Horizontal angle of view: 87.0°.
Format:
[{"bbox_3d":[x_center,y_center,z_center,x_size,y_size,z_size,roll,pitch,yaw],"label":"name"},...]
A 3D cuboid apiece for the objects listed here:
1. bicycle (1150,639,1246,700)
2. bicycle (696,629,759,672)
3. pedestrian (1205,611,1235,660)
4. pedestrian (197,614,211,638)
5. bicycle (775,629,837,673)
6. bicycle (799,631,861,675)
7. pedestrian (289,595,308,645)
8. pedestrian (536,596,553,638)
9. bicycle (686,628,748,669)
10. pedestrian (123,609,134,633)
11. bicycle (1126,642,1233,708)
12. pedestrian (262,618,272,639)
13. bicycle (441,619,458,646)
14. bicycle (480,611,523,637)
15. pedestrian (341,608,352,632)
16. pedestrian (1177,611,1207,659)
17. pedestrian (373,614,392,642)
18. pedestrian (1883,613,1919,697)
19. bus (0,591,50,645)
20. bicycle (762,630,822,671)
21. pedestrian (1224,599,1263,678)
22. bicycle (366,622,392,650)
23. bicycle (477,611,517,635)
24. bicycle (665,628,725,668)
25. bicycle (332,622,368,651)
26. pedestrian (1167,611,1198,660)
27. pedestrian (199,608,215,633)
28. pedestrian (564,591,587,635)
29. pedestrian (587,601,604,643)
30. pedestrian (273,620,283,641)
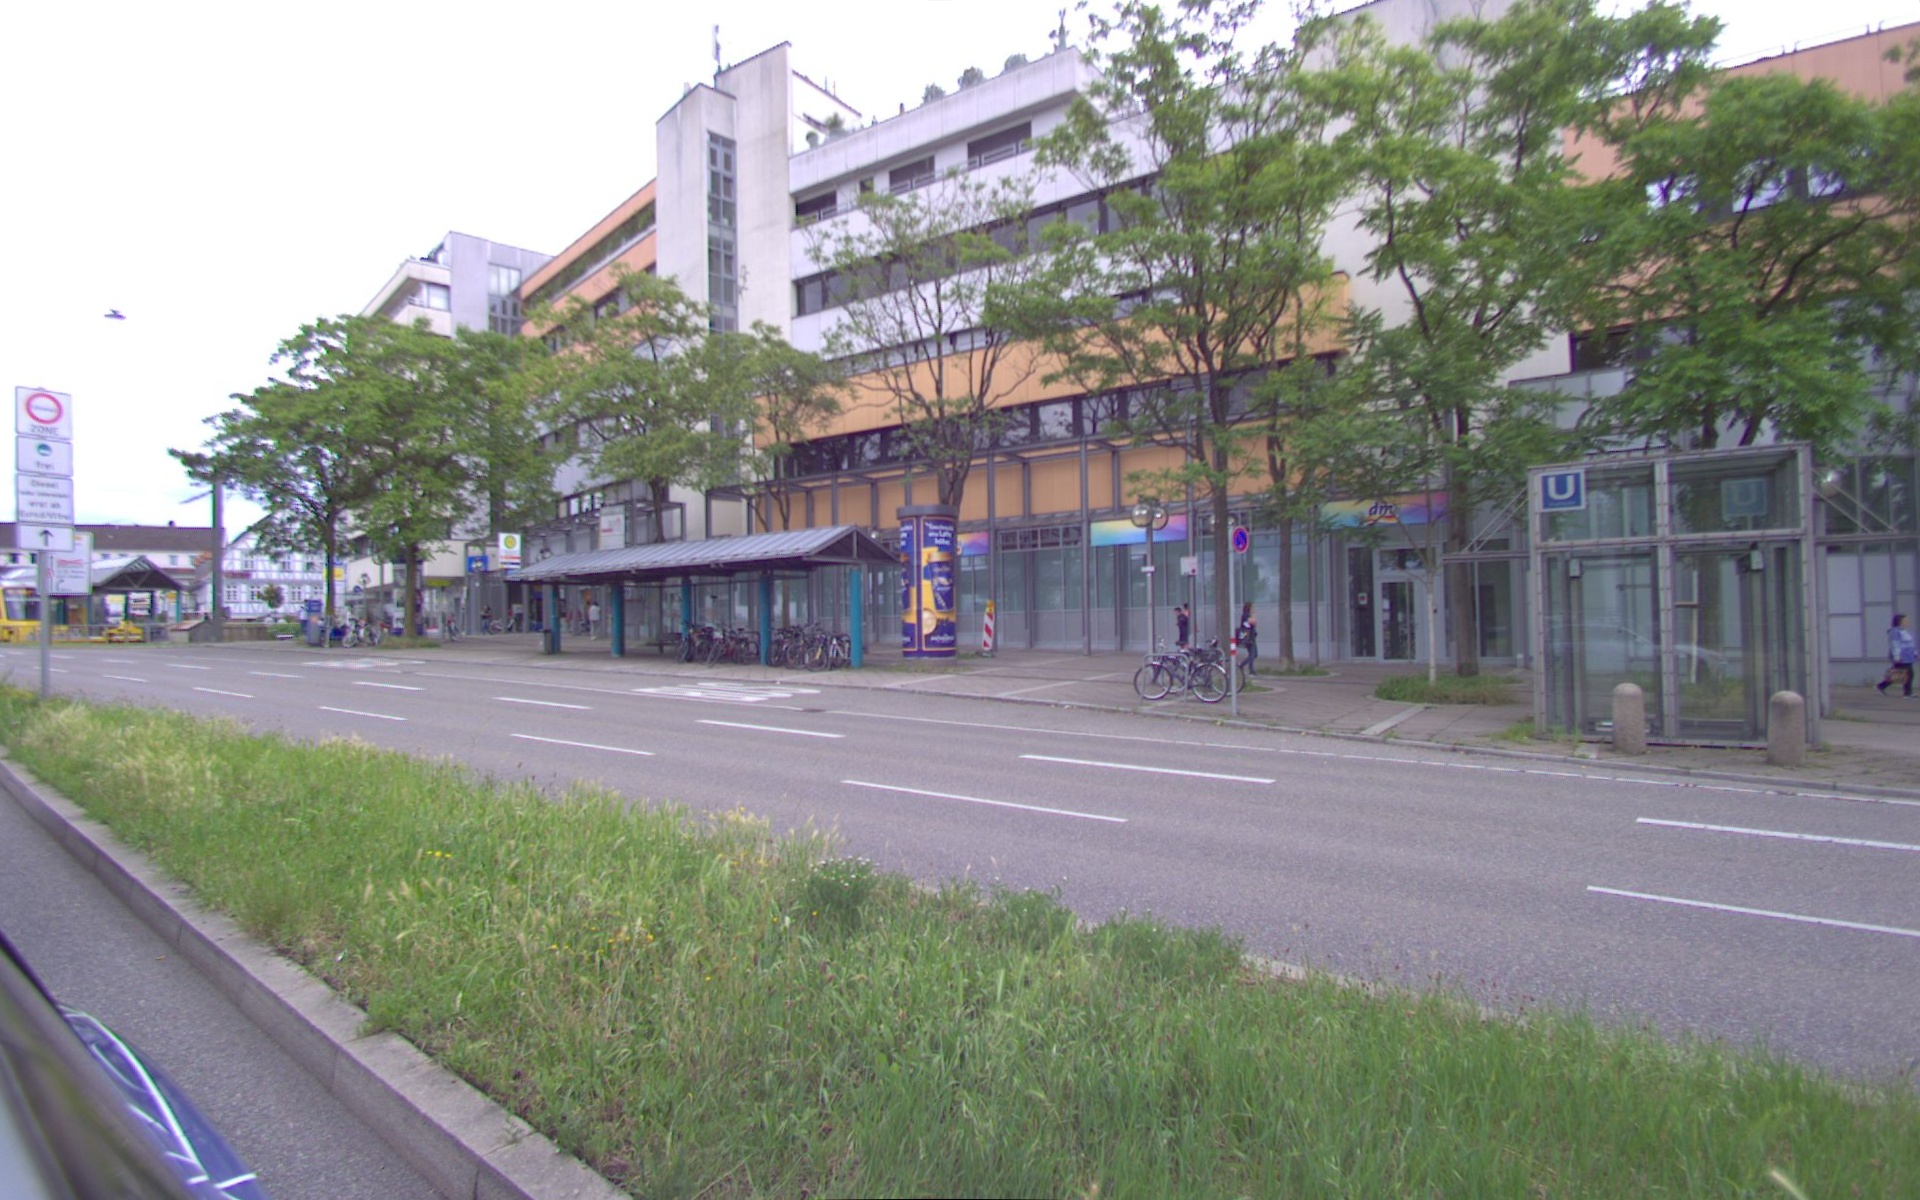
[{"bbox_3d":[4.501,1.292,19.199,1.737,1.074,0.542,-1,-1,45],"label":"bicycle"},{"bbox_3d":[-6.449,1.387,28.127,0.549,1.048,1.714,-1,1,38],"label":"bicycle"},{"bbox_3d":[7.507,1.015,29.190,0.694,1.385,0.578,0,-2,34],"label":"pedestrian"},{"bbox_3d":[-50.543,1.746,67.672,0.581,1.554,0.570,0,-2,32],"label":"pedestrian"},{"bbox_3d":[-4.101,1.339,26.999,0.549,1.048,1.714,-1,1,38],"label":"bicycle"},{"bbox_3d":[-3.392,1.362,26.467,0.549,1.048,1.714,-1,0,38],"label":"bicycle"},{"bbox_3d":[-31.291,0.950,47.883,0.608,2.325,0.583,-1,-2,39],"label":"pedestrian"},{"bbox_3d":[-20.301,0.811,49.472,0.558,2.029,0.611,2,-2,-44],"label":"pedestrian"},{"bbox_3d":[-6.944,1.363,28.989,0.549,1.048,1.714,-1,1,38],"label":"bicycle"},{"bbox_3d":[-71.332,1.832,86.831,0.731,2.029,0.940,1,-1,-39],"label":"pedestrian"},{"bbox_3d":[3.885,1.304,18.007,0.802,1.068,1.739,0,-1,-40],"label":"bicycle"},{"bbox_3d":[-48.647,2.006,71.052,0.548,1.506,0.454,1,-2,-41],"label":"pedestrian"},{"bbox_3d":[-21.848,1.383,43.328,0.584,1.134,2.044,1,-1,-26],"label":"bicycle"},{"bbox_3d":[-25.450,1.318,56.185,2.107,1.385,0.621,0,0,-31],"label":"bicycle"},{"bbox_3d":[-31.276,1.027,51.562,0.368,1.188,0.338,0,-2,31],"label":"pedestrian"},{"bbox_3d":[6.752,1.010,29.471,0.694,1.385,0.578,0,-2,34],"label":"pedestrian"},{"bbox_3d":[-34.815,1.680,60.999,0.752,1.695,0.755,-1,-2,41],"label":"pedestrian"},{"bbox_3d":[17.508,1.003,18.648,0.620,1.515,0.563,0,-2,30],"label":"pedestrian"},{"bbox_3d":[-56.484,1.029,58.998,8.470,3.006,2.530,0,-1,29],"label":"bus"},{"bbox_3d":[-4.626,1.387,27.966,0.549,1.048,1.714,-1,-1,38],"label":"bicycle"},{"bbox_3d":[6.571,0.886,23.463,0.769,1.800,0.525,-1,-2,33],"label":"pedestrian"},{"bbox_3d":[-23.242,1.430,40.508,0.584,1.085,2.044,1,-1,-21],"label":"bicycle"},{"bbox_3d":[-26.600,1.311,58.163,2.106,1.377,0.621,0,0,-24],"label":"bicycle"},{"bbox_3d":[-7.722,1.377,29.553,0.549,1.048,1.714,-1,1,38],"label":"bicycle"},{"bbox_3d":[-24.109,1.439,40.050,0.585,1.085,2.042,1,-1,-12],"label":"bicycle"},{"bbox_3d":[6.369,1.014,28.949,0.694,1.385,0.578,0,-2,34],"label":"pedestrian"},{"bbox_3d":[-62.282,1.685,83.722,0.867,2.029,1.011,2,-2,-44],"label":"pedestrian"},{"bbox_3d":[-17.985,0.589,47.289,0.794,2.029,0.701,0,0,40],"label":"pedestrian"},{"bbox_3d":[-15.967,0.958,44.306,0.639,1.823,0.761,1,-1,-16],"label":"pedestrian"},{"bbox_3d":[-48.113,2.162,71.408,0.548,1.506,0.454,1,-2,-41],"label":"pedestrian"}]
